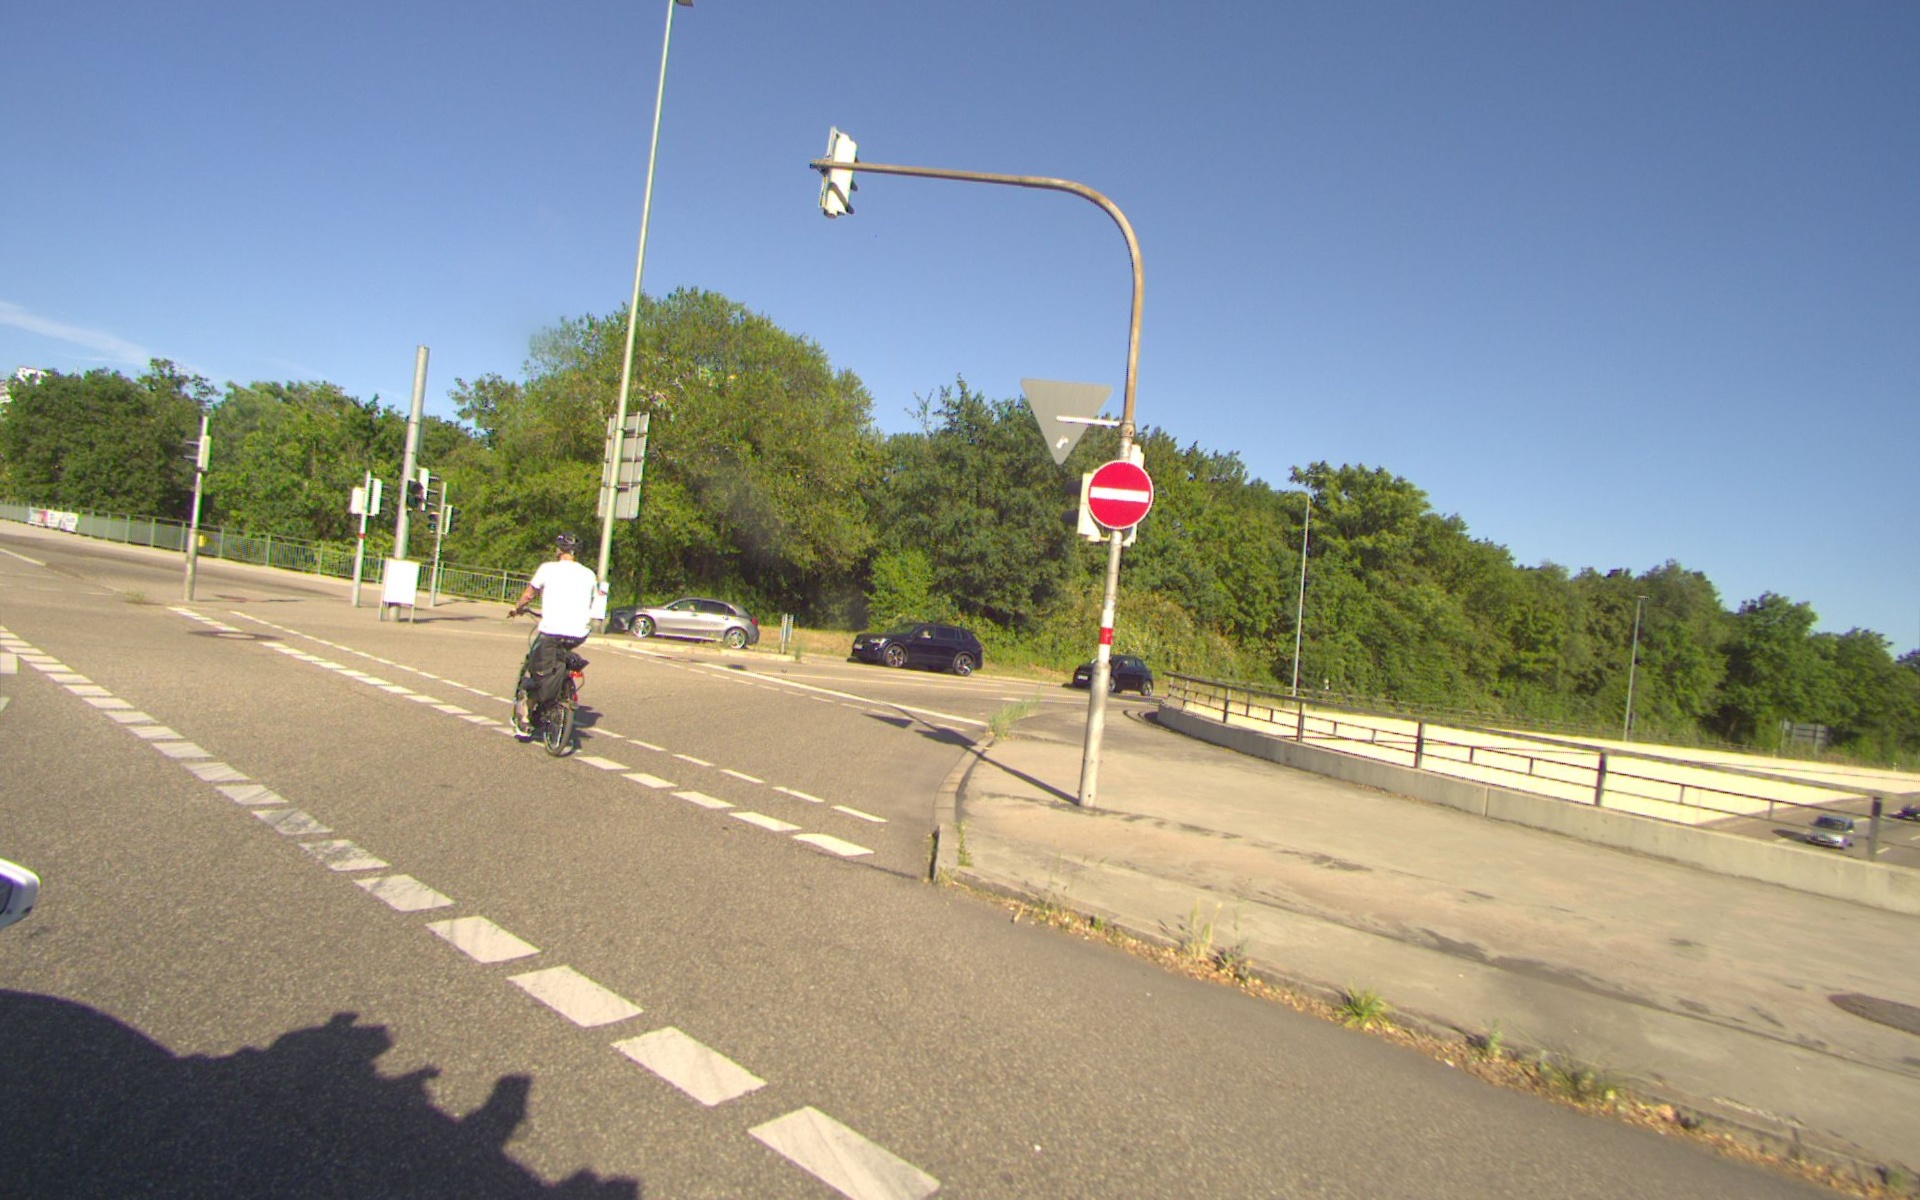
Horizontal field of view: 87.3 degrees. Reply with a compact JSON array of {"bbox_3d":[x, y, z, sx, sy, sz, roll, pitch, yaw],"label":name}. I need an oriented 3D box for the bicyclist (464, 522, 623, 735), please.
[{"bbox_3d":[-3.587,0.227,8.646,0.722,1.678,1.099,9,-2,-44],"label":"bicyclist"}]

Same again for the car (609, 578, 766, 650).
[{"bbox_3d":[-8.136,0.410,30.044,4.190,1.570,1.851,8,-1,-23],"label":"car"}]

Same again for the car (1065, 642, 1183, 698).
[{"bbox_3d":[6.480,2.764,39.444,4.643,1.635,1.841,8,-1,-39],"label":"car"}]

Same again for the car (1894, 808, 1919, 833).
[{"bbox_3d":[76.185,17.644,80.386,3.977,1.581,1.839,10,-2,-43],"label":"car"}]

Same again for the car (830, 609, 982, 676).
[{"bbox_3d":[-1.751,1.423,33.339,4.636,1.635,1.844,8,-1,-35],"label":"car"}]

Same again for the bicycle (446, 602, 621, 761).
[{"bbox_3d":[-3.726,0.670,8.704,0.689,1.114,1.804,9,-2,-44],"label":"bicycle"}]

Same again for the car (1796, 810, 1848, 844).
[{"bbox_3d":[53.342,14.006,62.210,3.979,1.591,1.975,10,-3,-44],"label":"car"}]
